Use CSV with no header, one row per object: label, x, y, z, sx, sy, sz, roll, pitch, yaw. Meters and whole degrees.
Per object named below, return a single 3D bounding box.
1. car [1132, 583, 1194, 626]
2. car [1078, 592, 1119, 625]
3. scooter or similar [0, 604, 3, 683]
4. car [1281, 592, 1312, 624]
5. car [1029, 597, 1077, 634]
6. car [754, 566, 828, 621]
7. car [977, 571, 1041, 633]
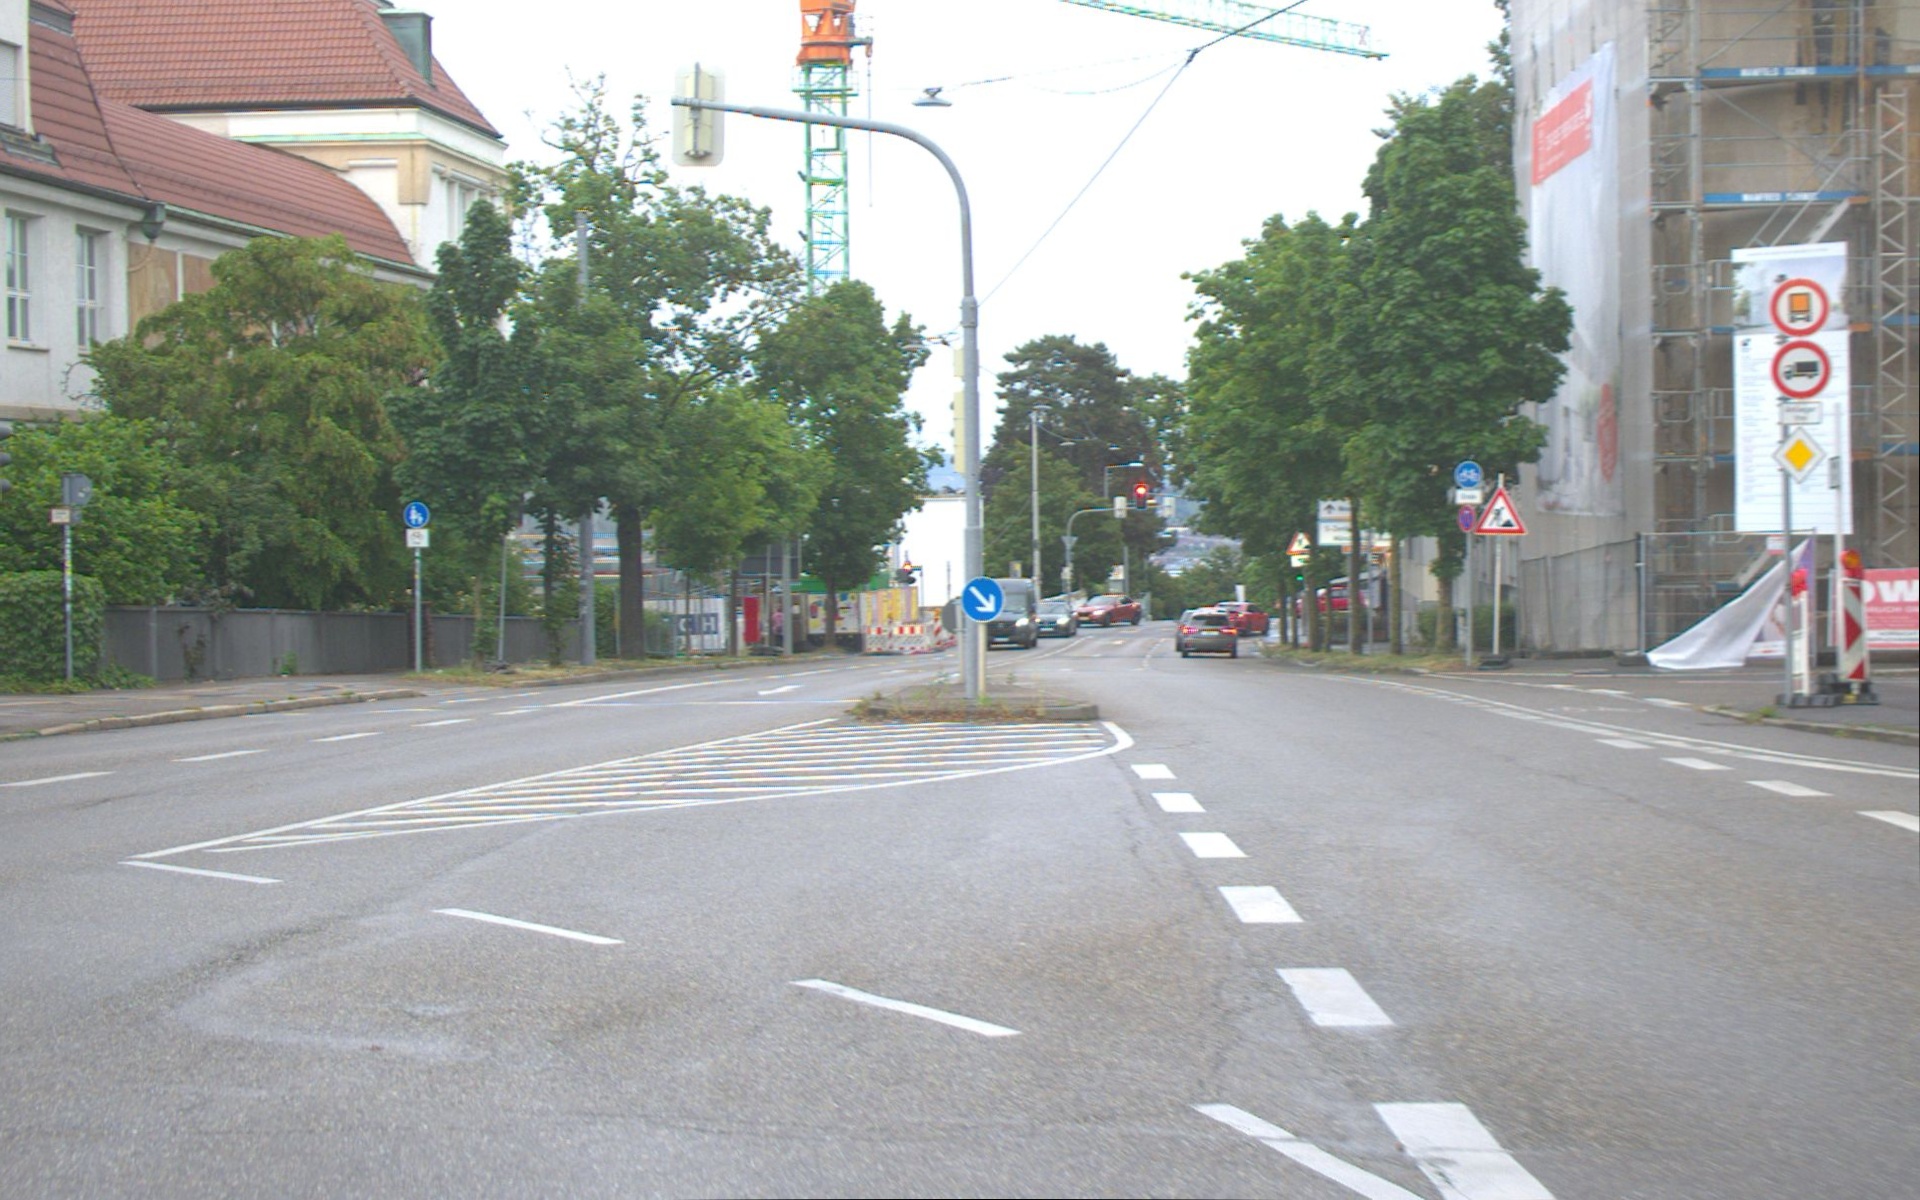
car,7.041,0.138,119.017,1.776,1.434,3.870,0,1,9
car,6.297,0.390,155.835,1.501,1.443,3.479,0,1,9
scooter or similar,-12.117,0.518,41.262,0.538,0.951,1.087,0,-1,42
car,21.732,0.515,222.136,1.994,2.007,3.999,0,1,5
car,3.869,0.621,143.022,1.576,1.456,3.536,0,1,9
car,-6.261,-0.262,128.037,1.994,2.007,3.999,0,1,9
car,1.824,0.049,126.385,1.835,2.204,3.999,0,1,9
